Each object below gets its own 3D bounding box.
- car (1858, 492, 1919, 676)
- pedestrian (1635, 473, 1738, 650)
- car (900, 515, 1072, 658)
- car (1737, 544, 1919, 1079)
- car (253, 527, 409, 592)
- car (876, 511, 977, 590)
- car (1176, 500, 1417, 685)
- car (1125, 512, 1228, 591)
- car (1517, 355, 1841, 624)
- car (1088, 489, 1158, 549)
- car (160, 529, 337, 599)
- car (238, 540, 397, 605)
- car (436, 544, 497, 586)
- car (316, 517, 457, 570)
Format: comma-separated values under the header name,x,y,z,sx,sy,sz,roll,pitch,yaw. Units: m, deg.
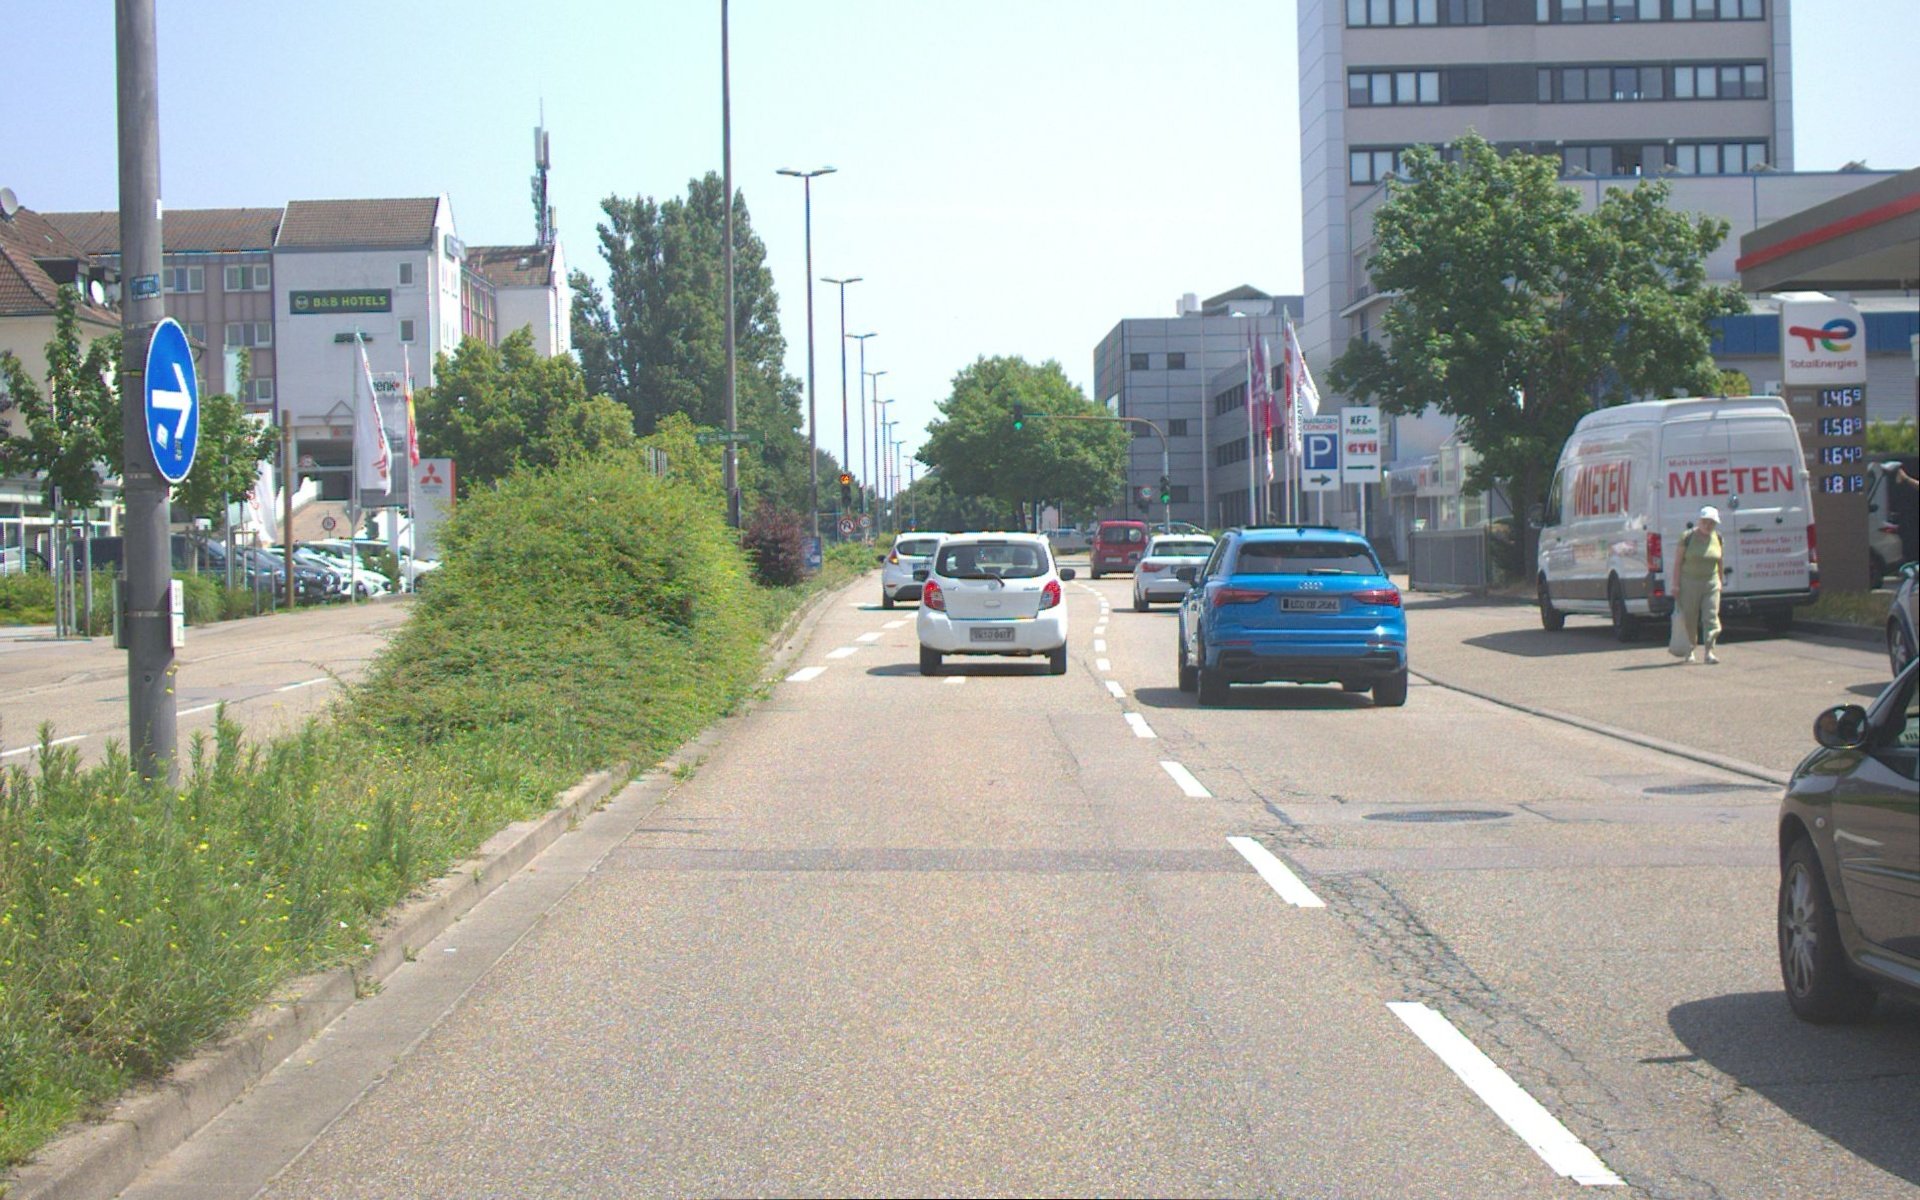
name,x,y,z,sx,sy,sz,roll,pitch,yaw
car,8.704,-0.158,28.057,1.657,1.514,3.820,-2,1,-1
pedestrian,7.395,-0.393,35.004,0.815,1.743,0.703,-3,1,-1
car,0.249,-0.156,37.940,1.712,1.505,3.247,0,1,-3
car,3.349,0.558,9.310,1.600,1.420,3.661,0,1,-1
car,-17.897,-1.134,97.824,3.986,1.725,1.908,1,-1,-26
car,-0.614,-0.938,66.484,1.830,1.445,4.000,0,0,1
car,3.035,-0.116,31.827,1.913,1.591,4.395,0,1,2
car,3.980,-0.905,63.659,1.667,1.394,3.793,0,1,0
car,8.513,-1.294,41.528,2.133,2.830,7.310,-4,1,-1
car,4.997,-2.479,105.907,1.794,1.723,3.973,0,0,-3
car,-17.382,-0.868,84.133,3.986,1.659,1.889,0,-1,-3
car,-17.375,-0.734,93.059,3.986,1.678,2.000,0,-1,-3
car,-17.030,-1.197,118.720,1.901,1.349,4.000,0,-1,-5
car,-17.737,-1.740,106.418,3.987,1.547,1.865,0,-1,2
